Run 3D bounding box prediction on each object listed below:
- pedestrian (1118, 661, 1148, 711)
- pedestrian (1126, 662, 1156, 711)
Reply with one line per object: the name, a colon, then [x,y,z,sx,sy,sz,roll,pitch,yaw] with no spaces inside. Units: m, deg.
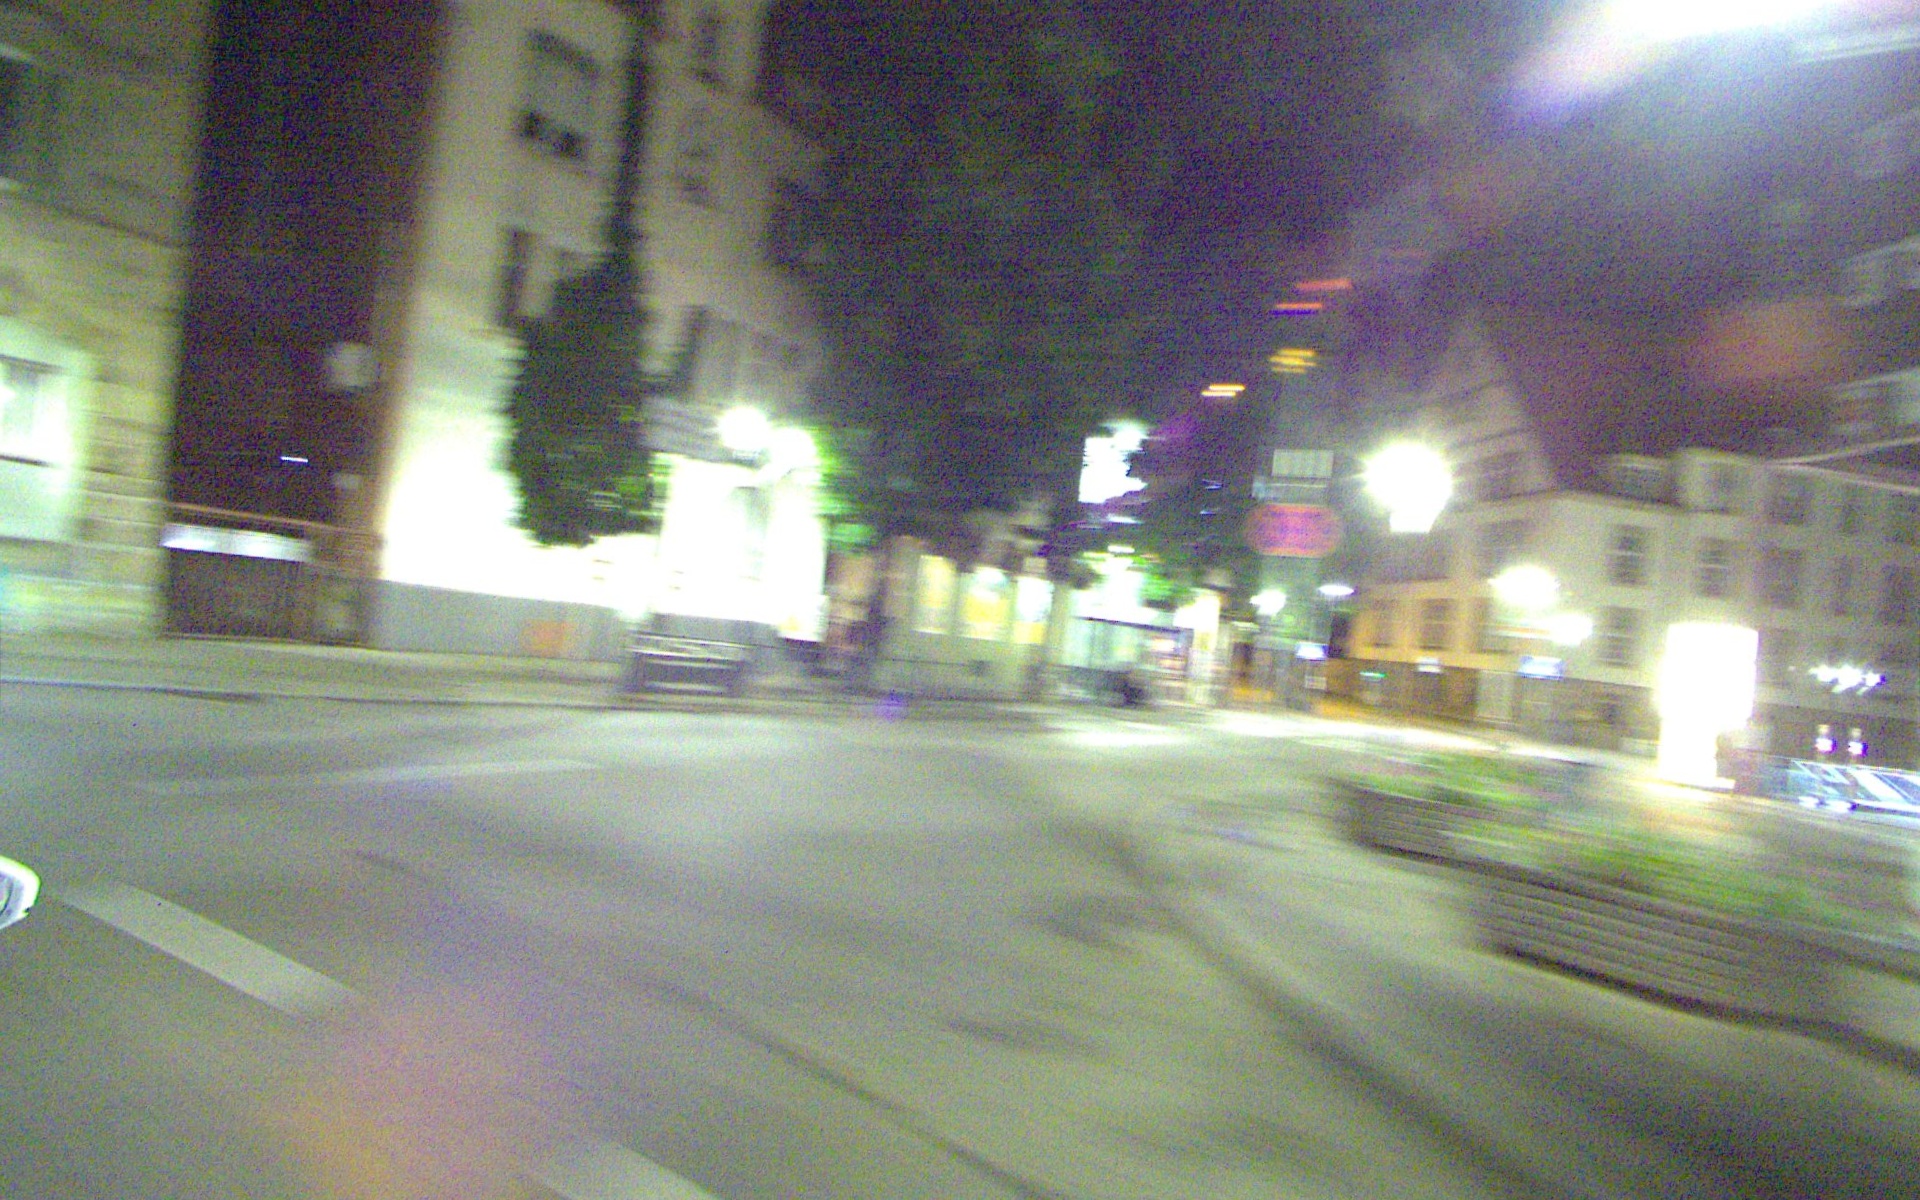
pedestrian: [4.798,2.377,27.928,0.507,1.314,0.465,6,-1,39]
pedestrian: [5.093,2.430,28.301,0.507,1.314,0.465,6,-1,39]
